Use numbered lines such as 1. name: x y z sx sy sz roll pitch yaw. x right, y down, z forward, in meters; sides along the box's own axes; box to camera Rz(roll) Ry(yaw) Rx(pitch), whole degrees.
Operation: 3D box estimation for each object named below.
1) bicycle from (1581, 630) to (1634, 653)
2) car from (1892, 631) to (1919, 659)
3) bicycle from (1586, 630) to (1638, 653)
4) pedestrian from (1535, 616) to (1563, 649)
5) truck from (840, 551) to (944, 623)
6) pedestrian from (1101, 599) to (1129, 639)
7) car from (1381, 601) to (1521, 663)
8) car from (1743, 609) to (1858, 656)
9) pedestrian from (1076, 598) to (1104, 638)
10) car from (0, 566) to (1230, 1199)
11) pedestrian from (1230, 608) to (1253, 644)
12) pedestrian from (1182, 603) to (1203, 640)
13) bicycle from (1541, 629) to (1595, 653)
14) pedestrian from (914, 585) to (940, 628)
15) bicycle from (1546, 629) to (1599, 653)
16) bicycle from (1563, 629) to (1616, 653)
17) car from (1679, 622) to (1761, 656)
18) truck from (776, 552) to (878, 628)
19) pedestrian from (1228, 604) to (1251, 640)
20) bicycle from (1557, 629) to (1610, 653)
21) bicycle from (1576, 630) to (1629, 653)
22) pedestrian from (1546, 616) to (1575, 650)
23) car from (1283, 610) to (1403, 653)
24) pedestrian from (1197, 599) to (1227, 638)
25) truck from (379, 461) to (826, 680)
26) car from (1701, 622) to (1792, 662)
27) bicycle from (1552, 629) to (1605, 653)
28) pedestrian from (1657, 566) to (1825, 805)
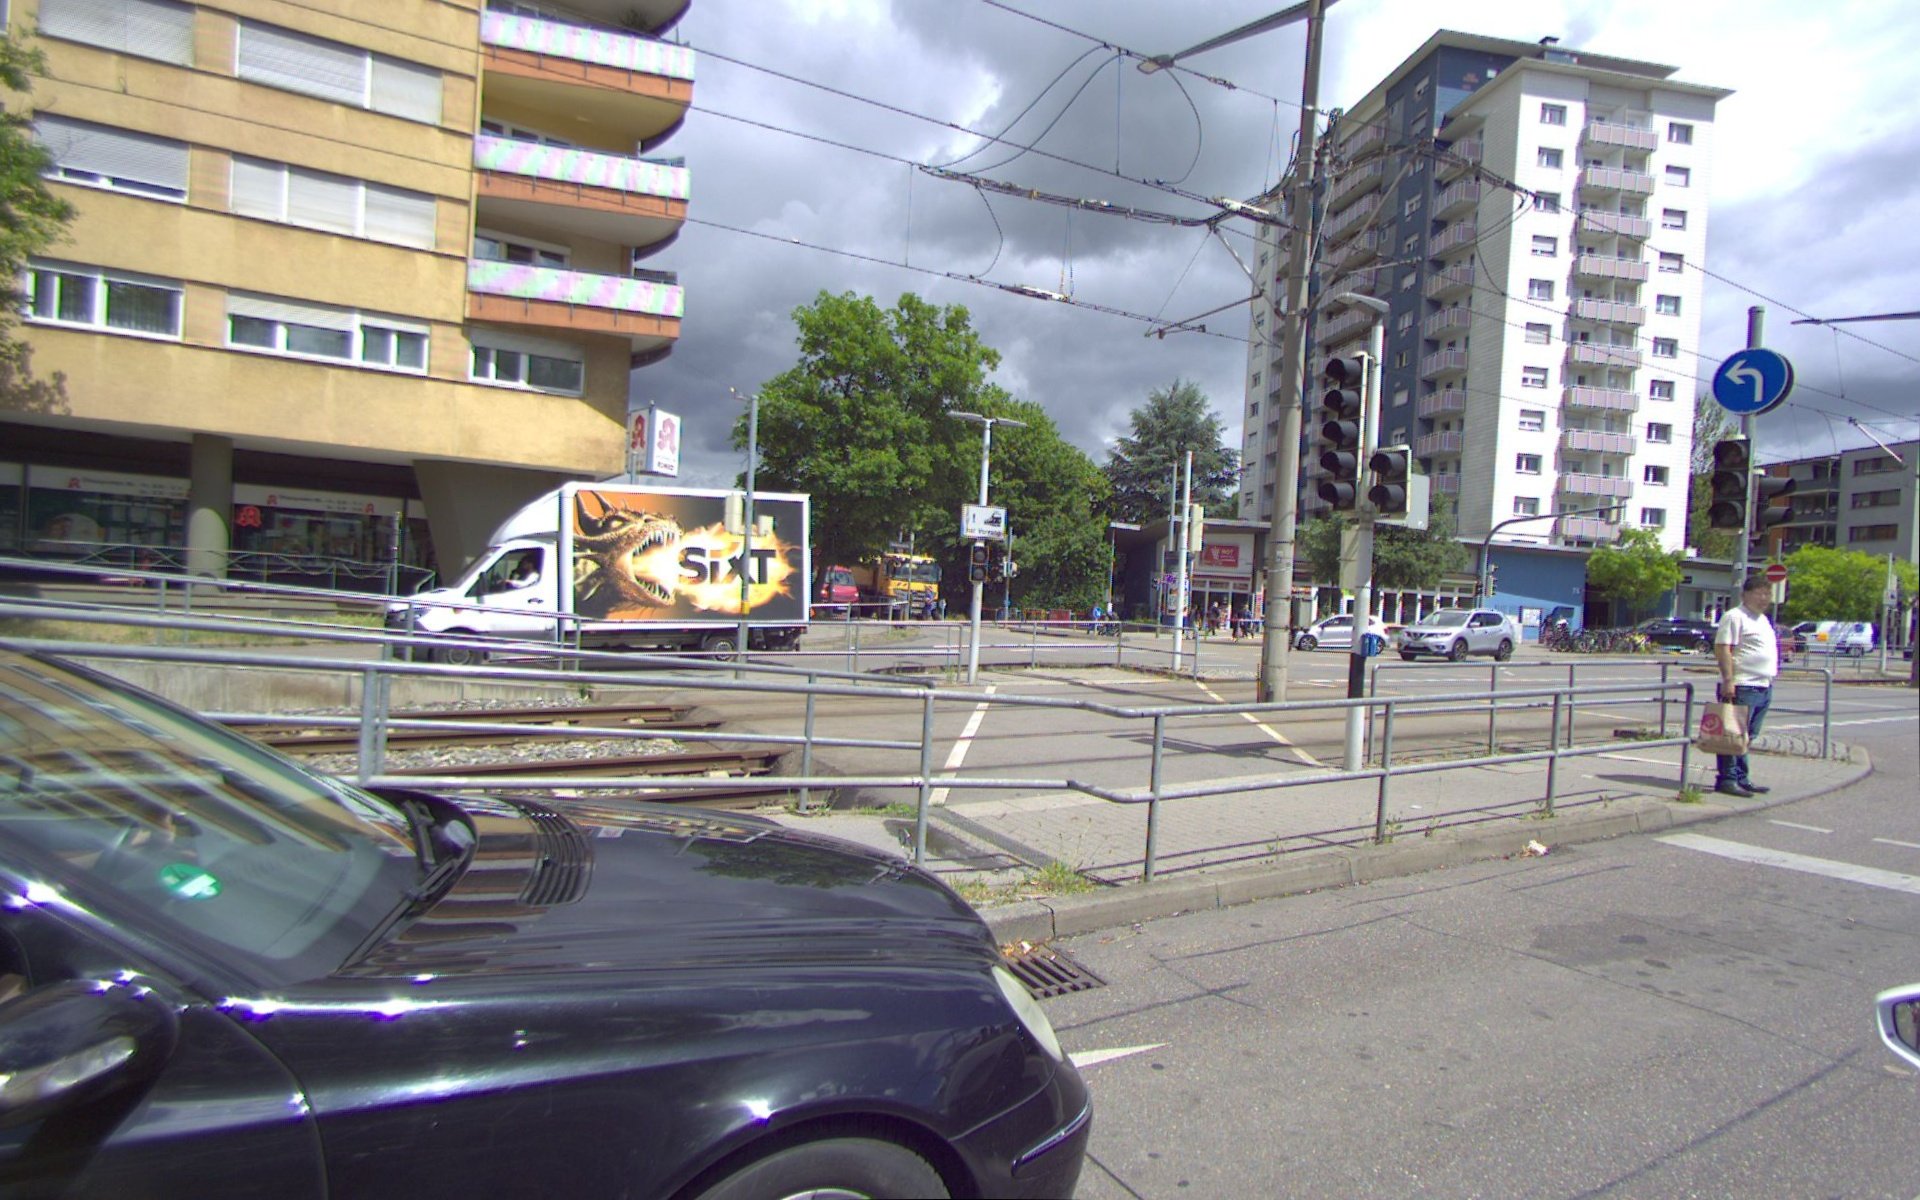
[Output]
1. bicycle: 29.022 1.841 45.051 0.490 0.947 1.934 2 0 -35
2. car: 53.323 2.458 55.590 4.208 1.433 1.619 1 0 -34
3. bicycle: 29.408 1.854 45.332 0.490 0.947 1.934 2 0 -35
4. pedestrian: 31.237 1.701 53.260 0.928 1.681 1.100 2 -1 11
5. truck: -3.492 -0.618 49.290 2.733 3.244 7.443 1 0 -23
6. pedestrian: 6.720 0.804 43.536 0.977 1.681 0.969 2 -1 -4
7. car: 15.477 1.013 31.602 4.462 1.825 1.982 1 -1 -33
8. car: 49.894 1.869 59.896 2.776 2.512 6.724 2 0 17
9. pedestrian: 5.619 0.770 43.386 0.977 1.681 0.969 2 -1 -4
10. car: -1.852 0.680 1.566 4.490 1.481 1.720 2 0 -30
11. pedestrian: 13.335 1.224 47.586 0.765 1.636 0.766 7 1 5
12. pedestrian: 10.785 0.990 46.592 0.685 1.637 0.768 1 0 -7
13. bicycle: 26.328 1.752 43.531 0.490 0.947 1.934 2 0 -35
14. pedestrian: -1.331 0.252 40.387 0.770 1.638 0.759 -1 5 -29
15. bicycle: 26.720 1.765 43.820 0.490 0.947 1.934 2 0 -35
16. bicycle: 27.979 1.807 44.659 0.490 0.947 1.934 2 0 -35
17. car: 40.633 2.062 53.830 1.921 1.591 4.220 2 0 13
18. truck: -6.672 -0.496 49.051 2.692 3.320 8.877 1 0 -22
19. pedestrian: 12.928 1.007 46.423 0.693 1.637 0.760 1 1 -43
20. bicycle: 27.517 1.792 44.381 0.490 0.947 1.934 2 0 -35
21. bicycle: 28.620 1.828 44.777 0.490 0.947 1.934 2 0 -35
22. pedestrian: 30.989 1.707 51.862 0.928 1.681 1.100 2 -1 11
23. car: 14.489 1.177 38.137 3.919 1.416 1.699 2 0 8
24. pedestrian: 12.808 0.940 51.112 1.200 1.942 0.860 1 1 -30
25. truck: -6.171 -0.428 17.895 7.181 3.266 2.401 0 1 -32
26. car: 35.068 1.853 44.749 4.415 1.656 1.981 1 -1 -35
27. bicycle: 27.130 1.779 44.109 0.490 0.947 1.934 2 0 -35
28. pedestrian: 6.401 0.652 8.250 0.734 1.832 0.863 1 1 -33
